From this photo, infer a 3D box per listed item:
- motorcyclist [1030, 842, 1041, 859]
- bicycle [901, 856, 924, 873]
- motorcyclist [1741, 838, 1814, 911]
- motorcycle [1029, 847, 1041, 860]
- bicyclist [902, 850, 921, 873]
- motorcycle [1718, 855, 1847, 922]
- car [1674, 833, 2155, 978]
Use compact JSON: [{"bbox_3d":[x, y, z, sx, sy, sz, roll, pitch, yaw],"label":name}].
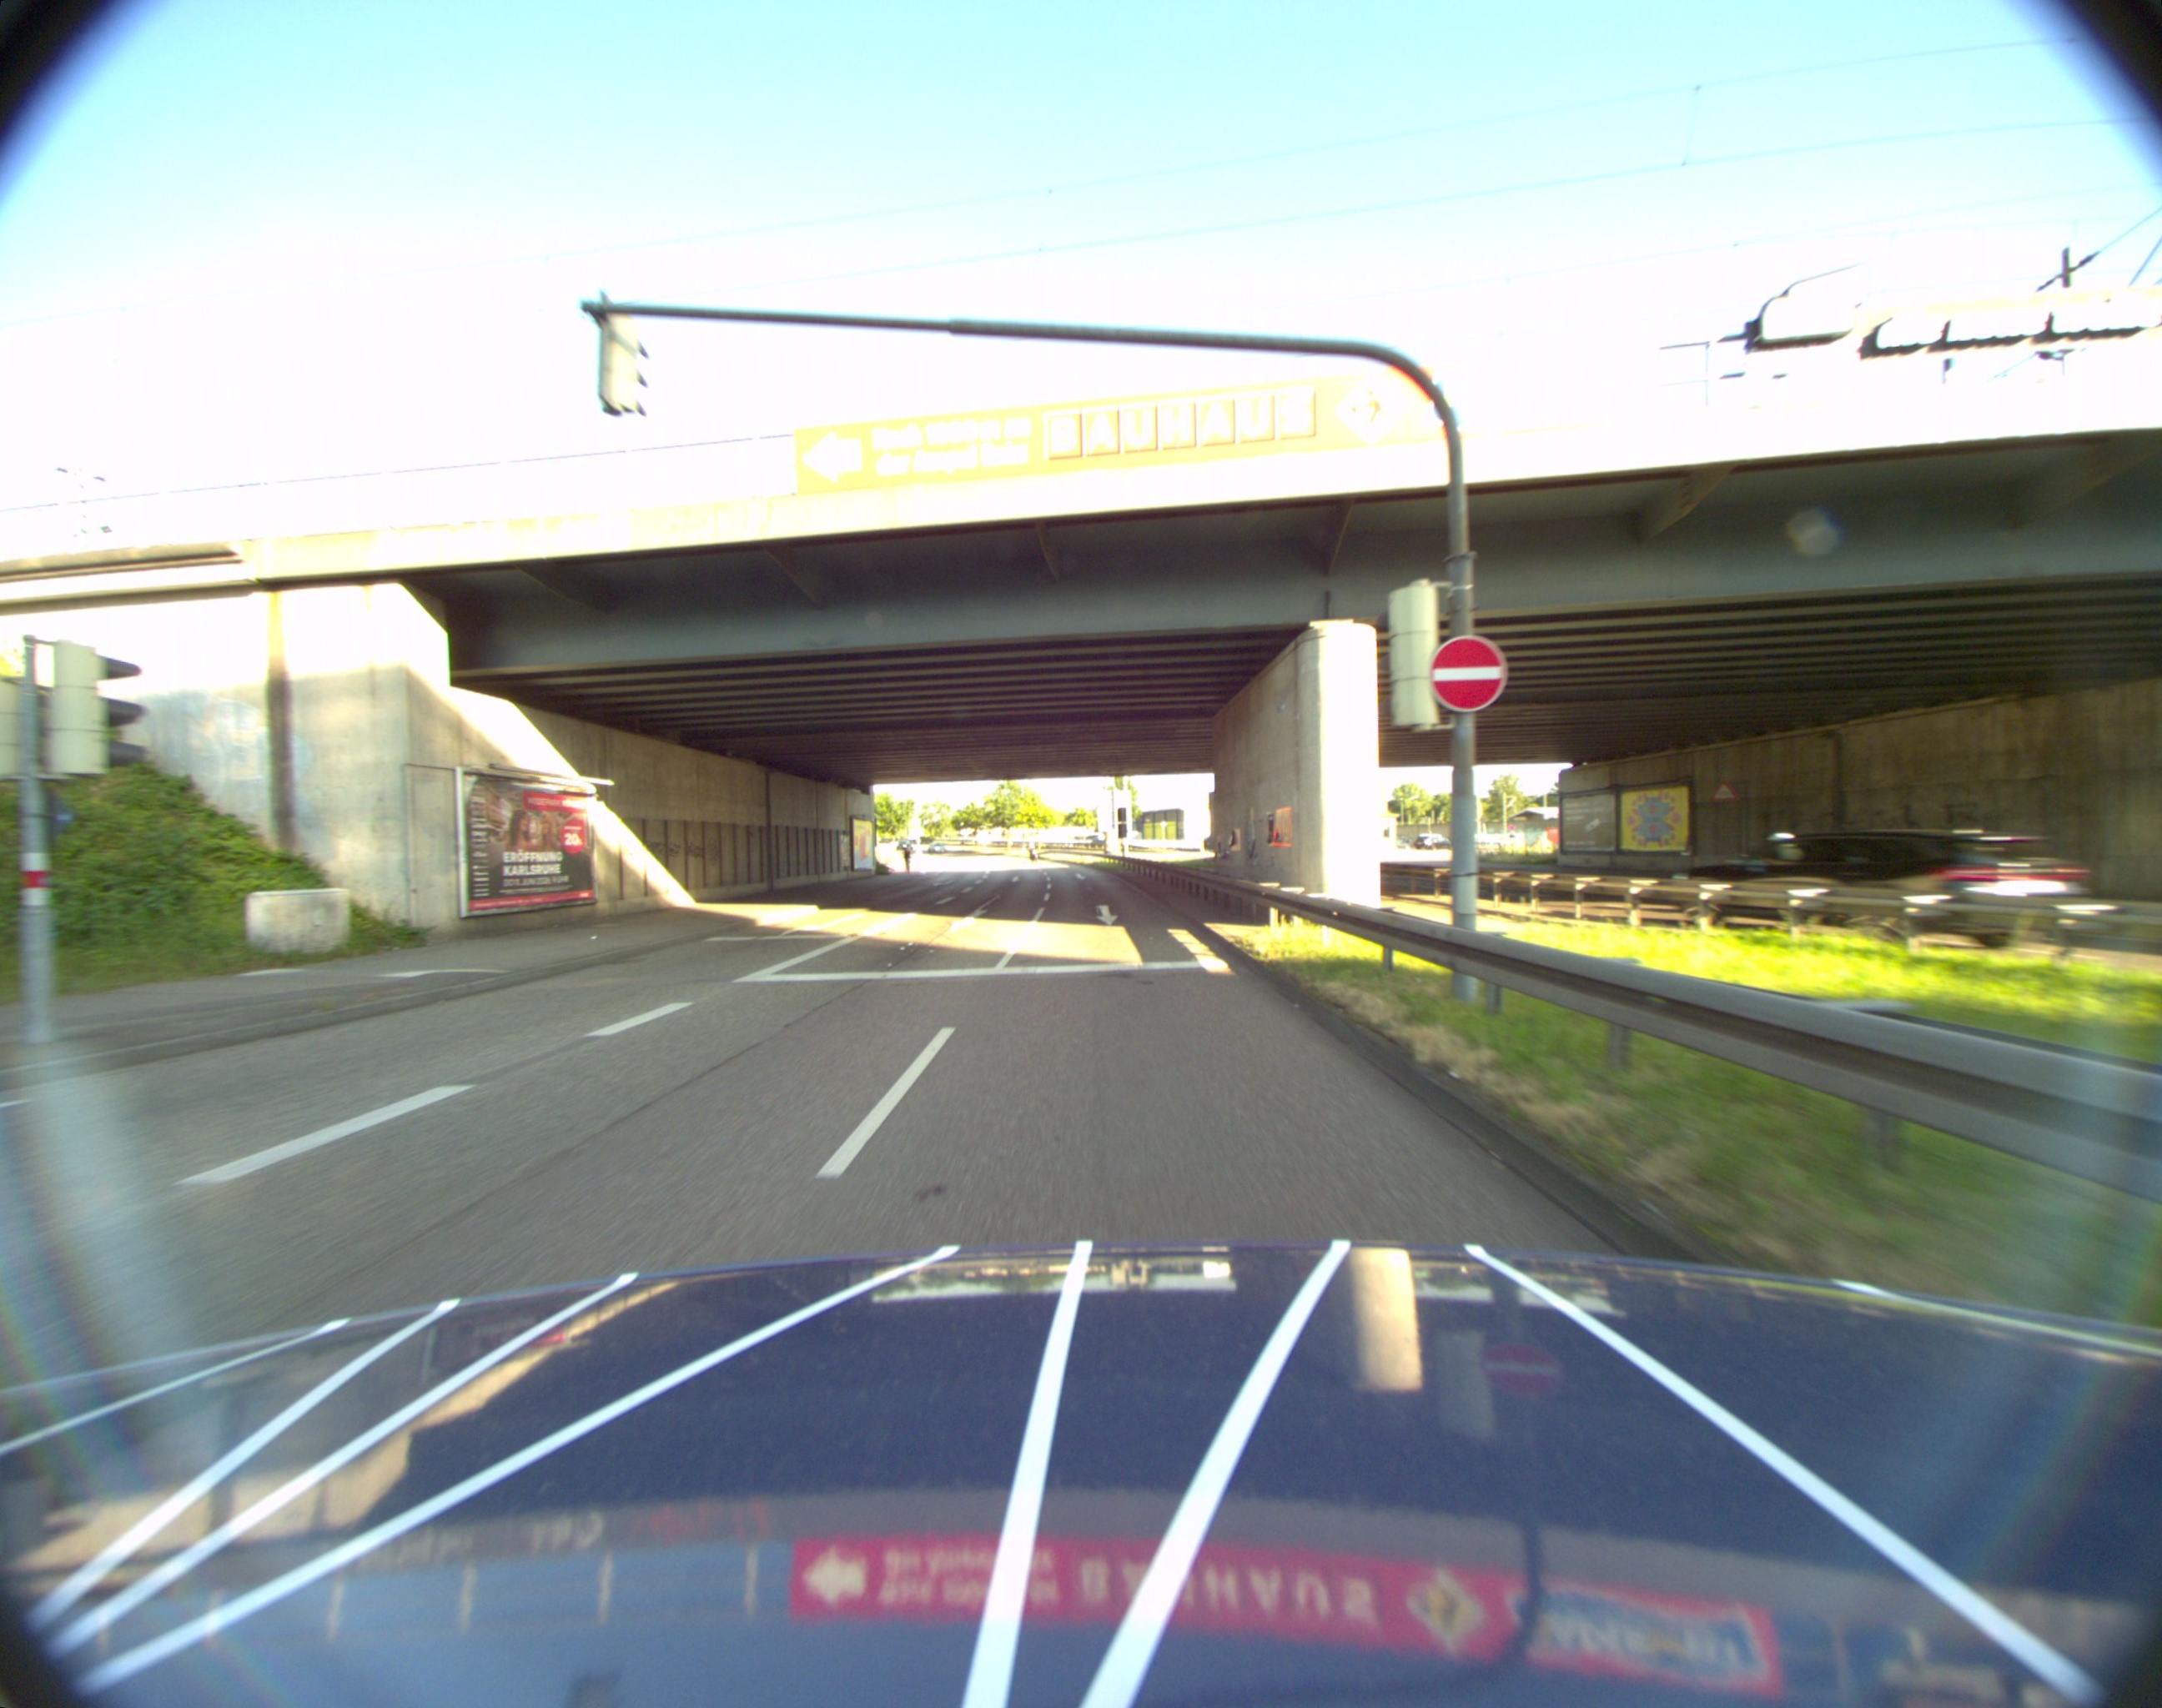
[{"bbox_3d":[-4.106,-0.296,67.981,0.839,1.434,0.878,-3,2,1],"label":"motorcyclist"},{"bbox_3d":[-10.969,0.653,49.403,0.784,1.051,2.491,-4,2,-27],"label":"bicycle"},{"bbox_3d":[14.132,0.395,15.444,0.683,1.416,0.867,-3,2,4],"label":"motorcyclist"},{"bbox_3d":[-4.105,-0.067,67.966,0.811,1.040,2.352,-3,2,1],"label":"motorcycle"},{"bbox_3d":[-11.004,0.471,49.347,0.844,1.413,1.111,-4,2,-27],"label":"bicyclist"},{"bbox_3d":[14.164,0.655,15.453,0.682,1.150,2.239,-3,2,5],"label":"motorcycle"},{"bbox_3d":[11.797,0.552,11.432,1.998,1.687,4.679,2,2,0],"label":"car"}]
